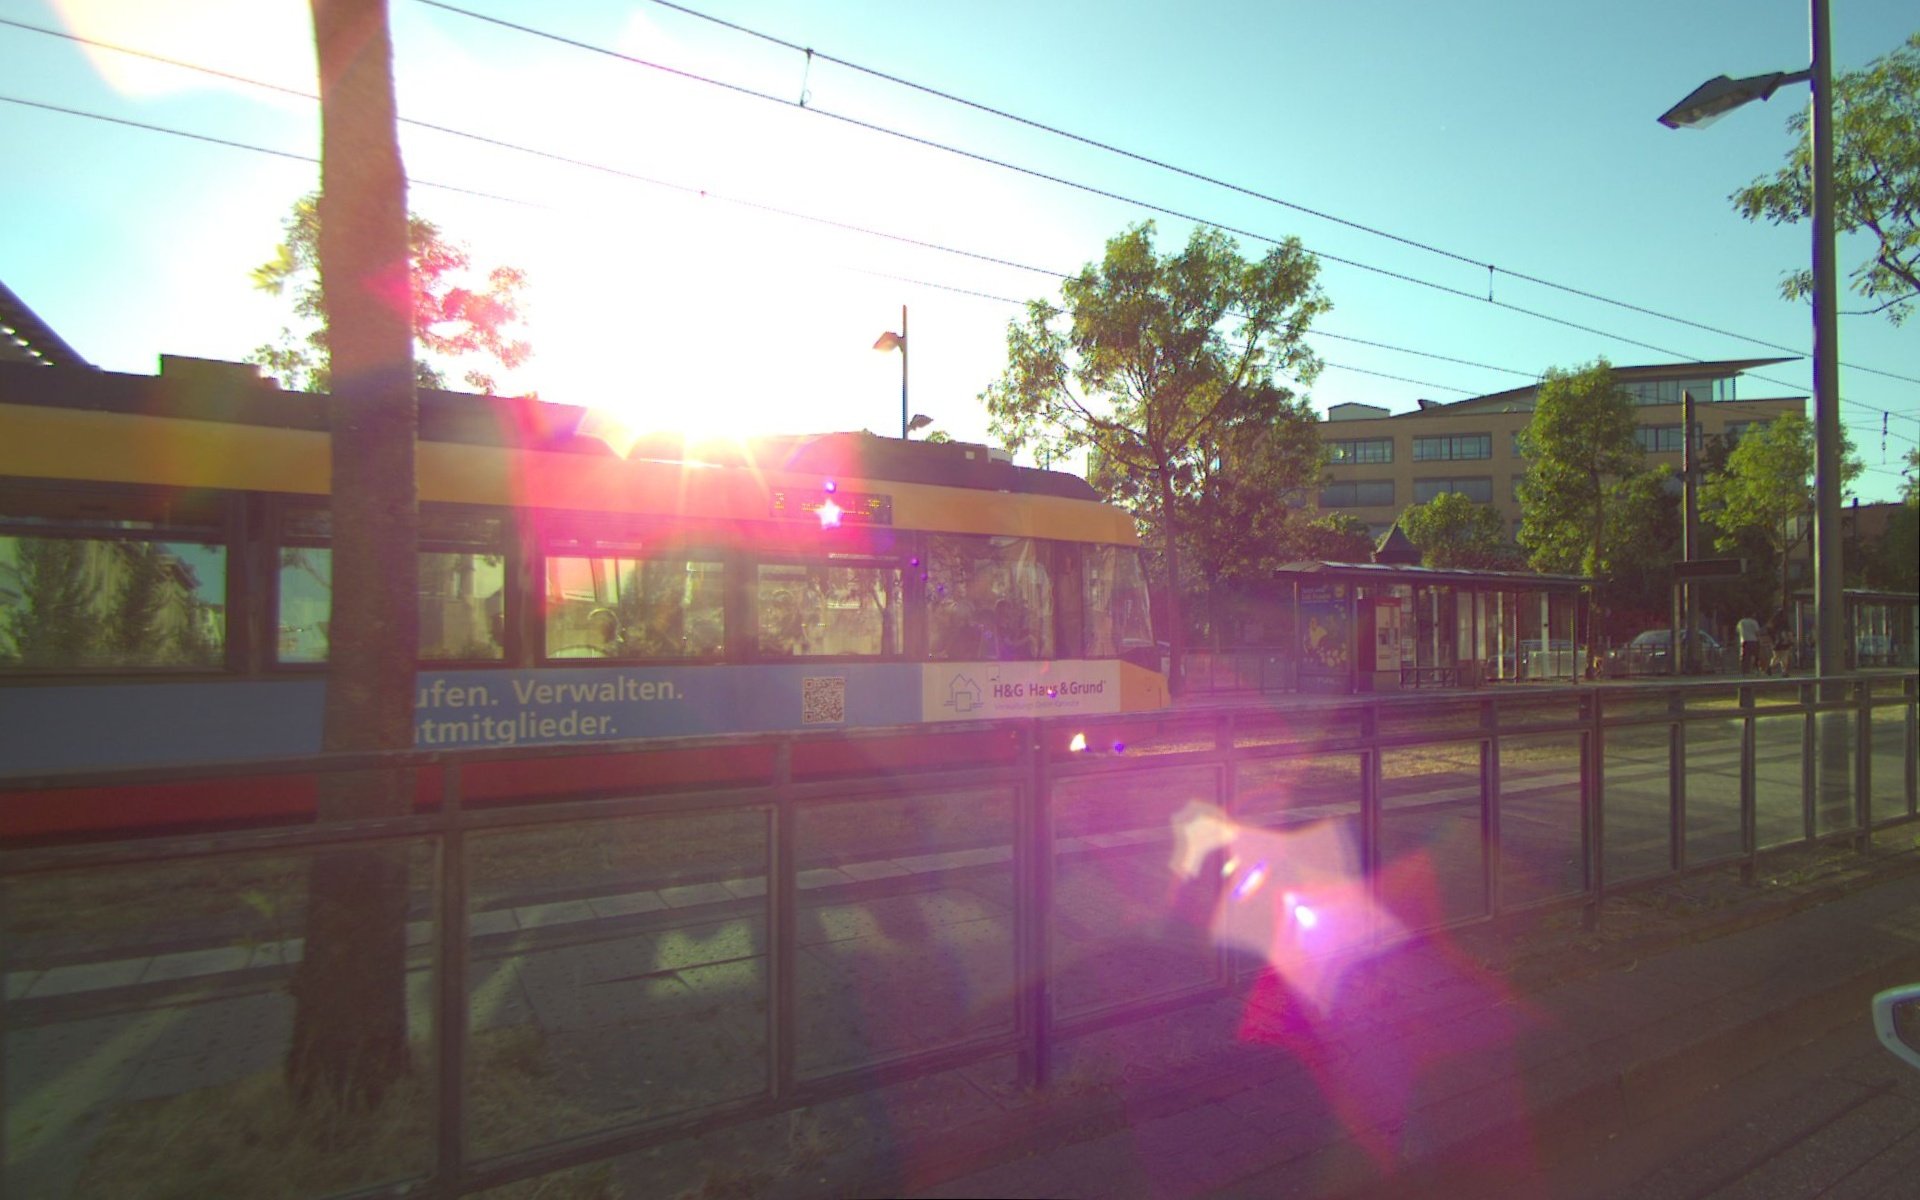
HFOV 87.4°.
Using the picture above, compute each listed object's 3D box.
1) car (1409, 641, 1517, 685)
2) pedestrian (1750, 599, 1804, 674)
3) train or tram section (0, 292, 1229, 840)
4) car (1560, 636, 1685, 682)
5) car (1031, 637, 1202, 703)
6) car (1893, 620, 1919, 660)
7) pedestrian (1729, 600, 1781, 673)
[{"bbox_3d":[16.426,2.016,32.794,3.650,1.315,1.531,1,-2,-33],"label":"car"},{"bbox_3d":[22.500,1.001,27.662,1.113,2.040,0.767,1,-1,-28],"label":"pedestrian"},{"bbox_3d":[-3.650,-0.102,9.525,13.695,3.383,3.415,1,-2,-30],"label":"train or tram section"},{"bbox_3d":[20.677,1.806,31.322,3.953,1.315,1.686,1,-2,-30],"label":"car"},{"bbox_3d":[3.926,1.696,25.175,3.950,1.528,1.855,1,-2,-28],"label":"car"},{"bbox_3d":[41.846,1.699,42.922,3.953,1.676,1.850,1,-1,-30],"label":"car"},{"bbox_3d":[22.699,1.030,28.678,1.113,2.040,0.767,1,-1,-28],"label":"pedestrian"}]
